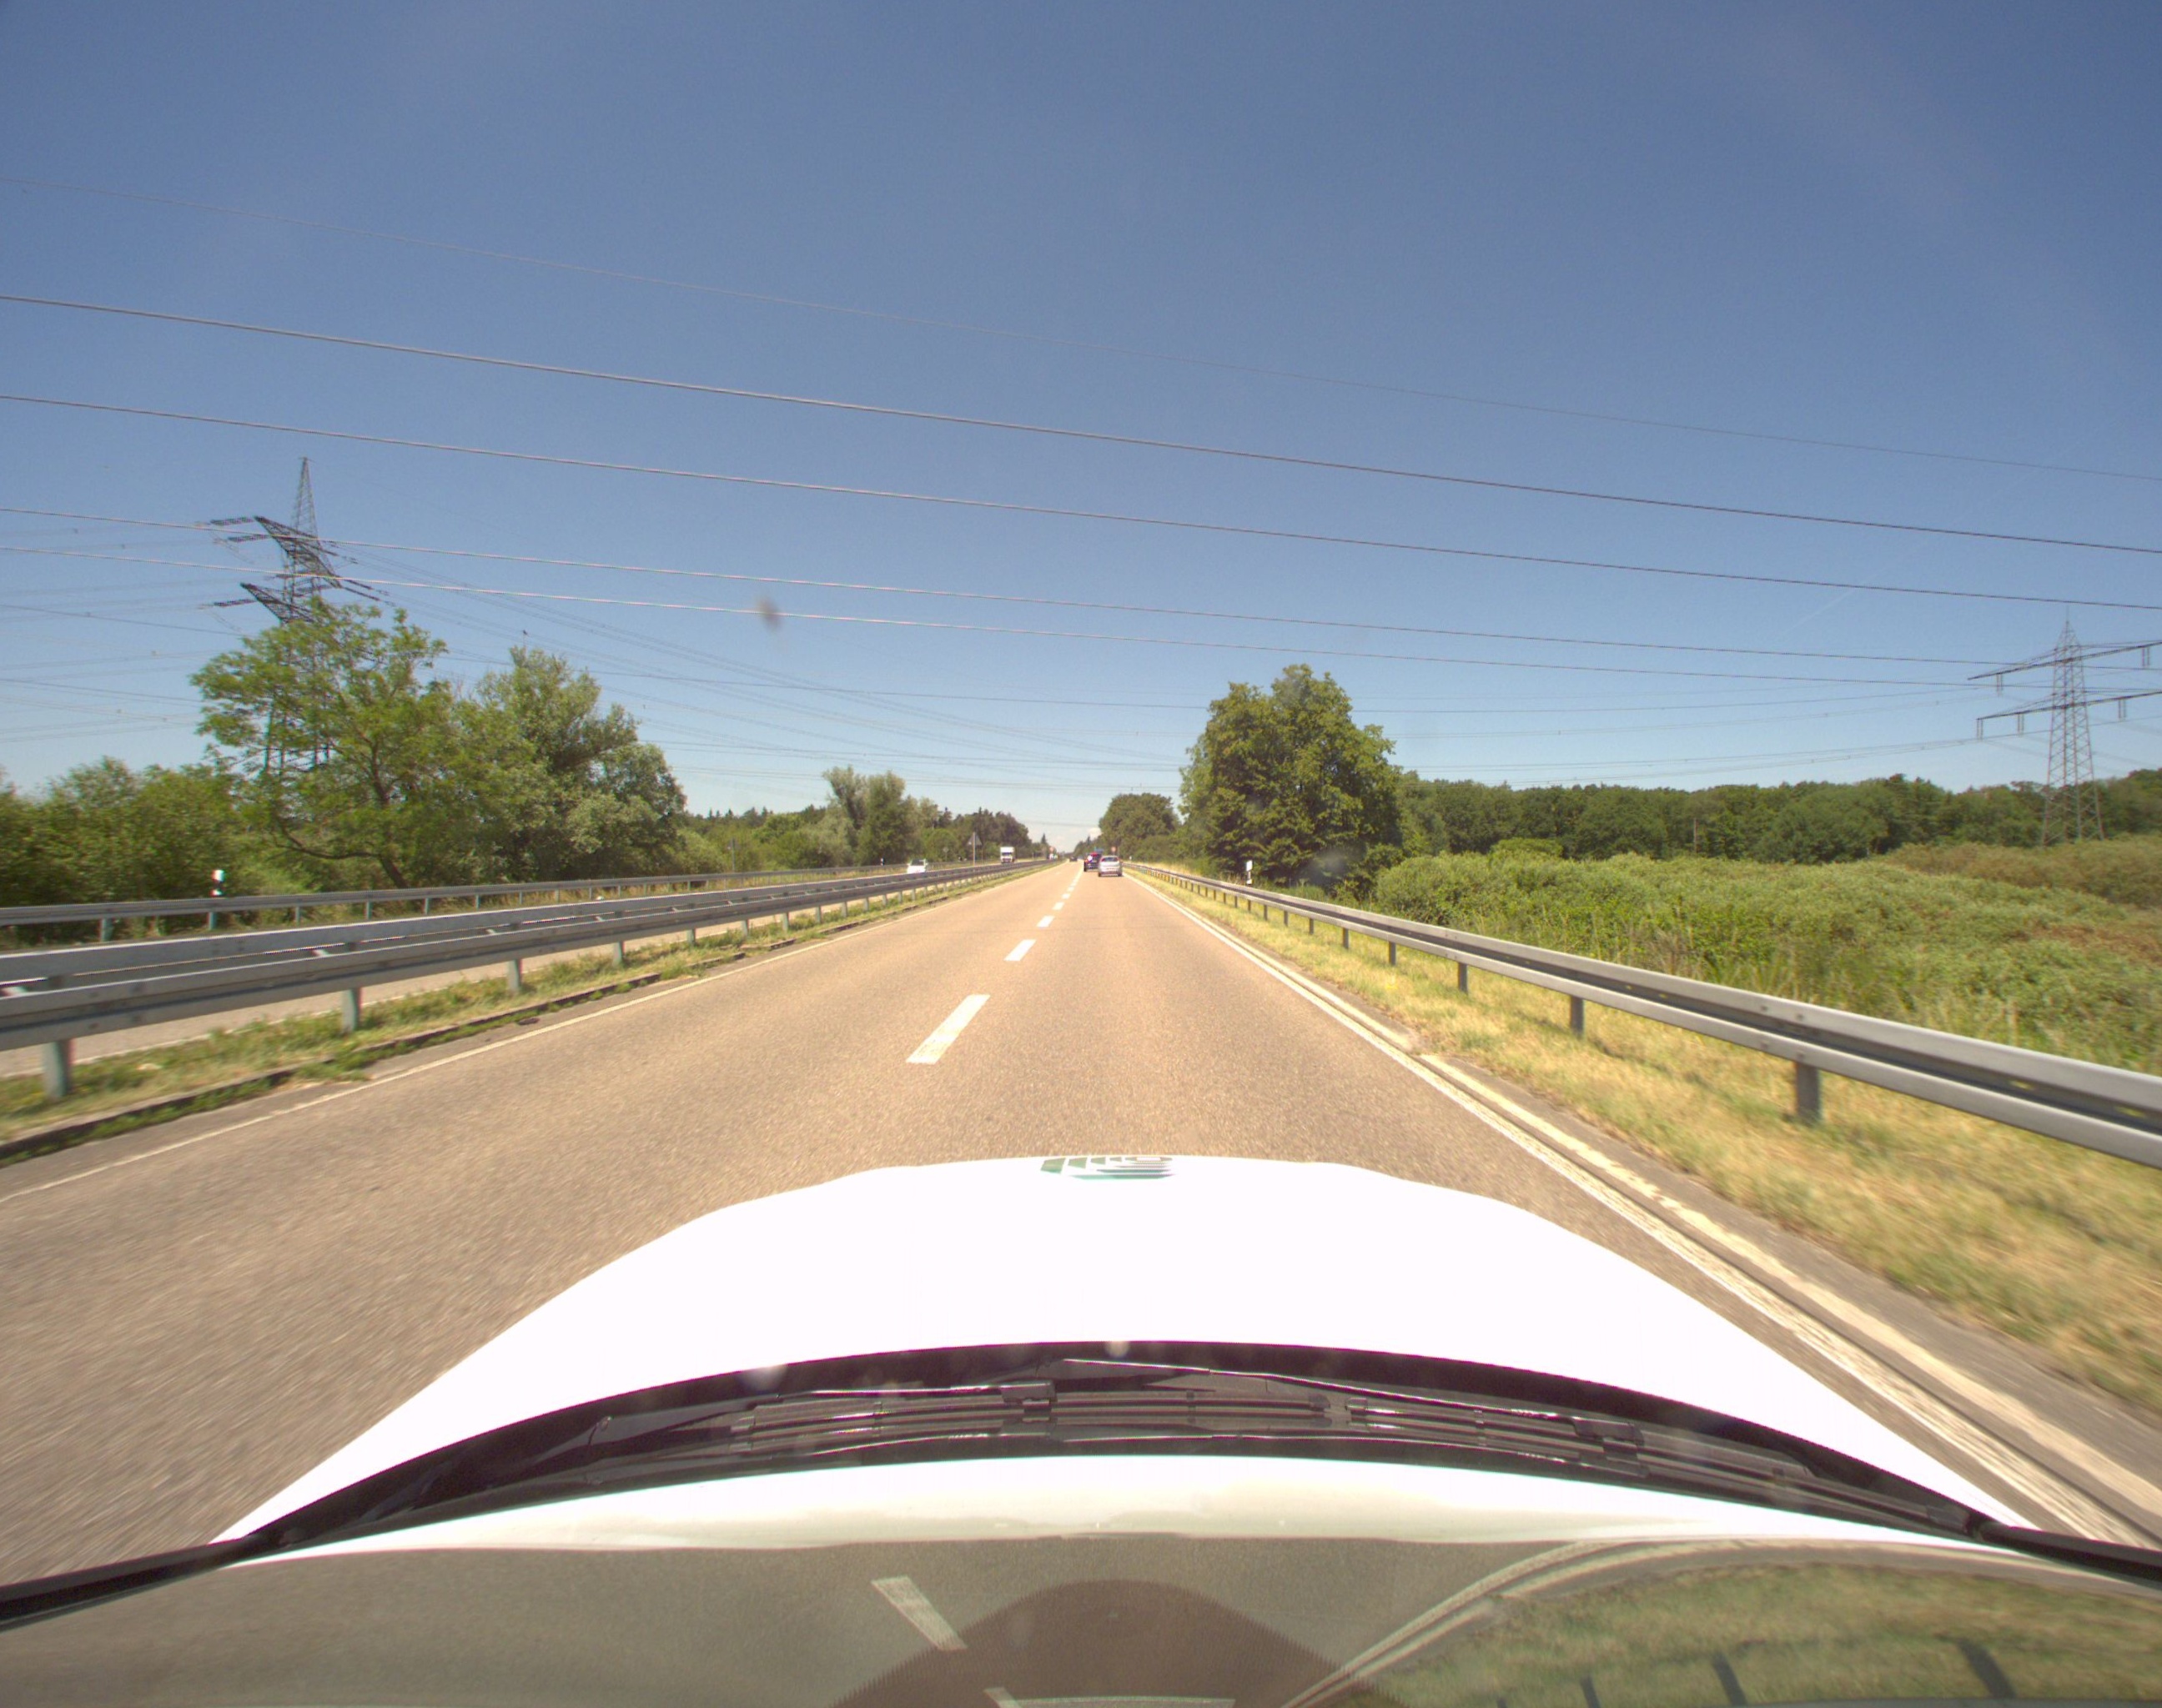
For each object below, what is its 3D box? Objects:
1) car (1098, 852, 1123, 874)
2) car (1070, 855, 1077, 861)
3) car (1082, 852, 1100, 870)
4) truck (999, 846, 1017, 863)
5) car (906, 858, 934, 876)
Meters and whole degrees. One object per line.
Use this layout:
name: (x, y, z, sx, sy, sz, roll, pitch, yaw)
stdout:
car: (2.076, 0.635, 57.661, 1.635, 1.468, 3.419, 2, 0, 1)
car: (-1.745, 0.975, 195.967, 1.707, 1.471, 3.573, 2, 0, -1)
car: (0.930, 0.631, 77.141, 1.635, 1.654, 3.573, 2, 0, 0)
truck: (-14.403, 0.045, 161.737, 2.709, 3.193, 8.405, -1, 0, 0)
car: (-13.811, 1.124, 69.981, 1.527, 1.449, 3.702, -1, 0, 1)
